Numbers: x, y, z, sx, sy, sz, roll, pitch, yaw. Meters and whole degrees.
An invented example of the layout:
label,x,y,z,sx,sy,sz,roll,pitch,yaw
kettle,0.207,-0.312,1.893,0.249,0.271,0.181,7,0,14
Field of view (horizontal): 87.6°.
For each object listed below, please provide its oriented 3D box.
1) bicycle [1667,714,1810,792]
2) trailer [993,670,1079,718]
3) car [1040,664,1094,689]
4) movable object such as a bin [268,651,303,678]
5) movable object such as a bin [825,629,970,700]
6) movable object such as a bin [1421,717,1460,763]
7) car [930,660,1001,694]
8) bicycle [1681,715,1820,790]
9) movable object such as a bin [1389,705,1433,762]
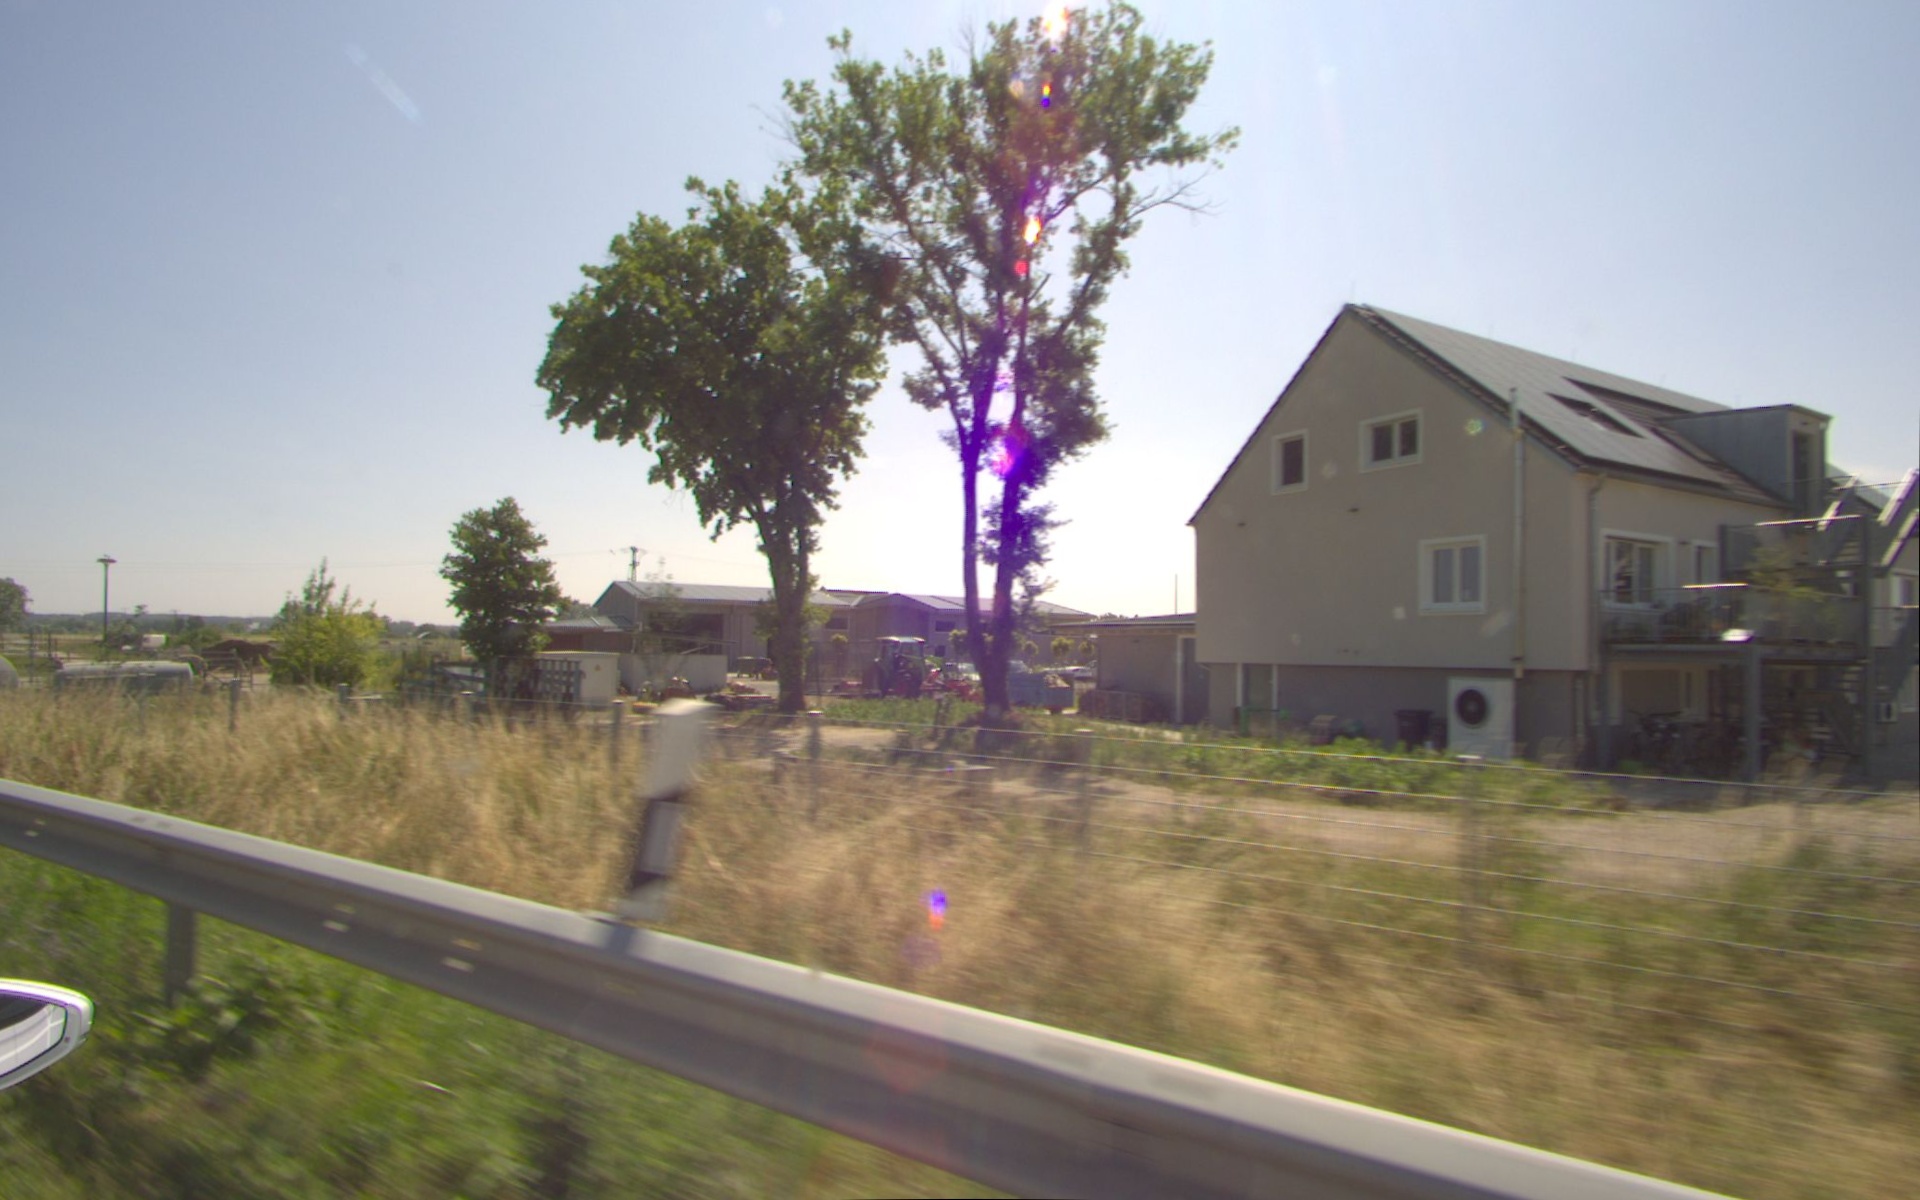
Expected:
label,x,y,z,sx,sy,sz,roll,pitch,yaw
bicycle,14.148,2.752,18.270,0.704,1.206,1.963,3,-4,-26
trailer,2.476,3.092,33.208,1.688,1.514,3.136,2,-5,-21
car,7.311,5.253,69.053,1.888,1.512,3.860,3,-2,-27
movable object such as a bin,-34.185,3.266,50.728,1.357,1.366,1.506,3,-3,-37
movable object such as a bin,-2.824,2.747,43.604,2.982,2.804,6.448,5,-4,-41
movable object such as a bin,10.178,2.959,21.234,0.496,0.922,0.558,2,-2,-26
car,0.221,3.927,51.663,1.972,1.594,3.857,2,-3,-30
bicycle,14.888,2.841,18.925,0.704,1.206,1.962,3,-3,-27
movable object such as a bin,9.784,2.882,21.726,0.570,1.164,0.659,2,-2,-26
